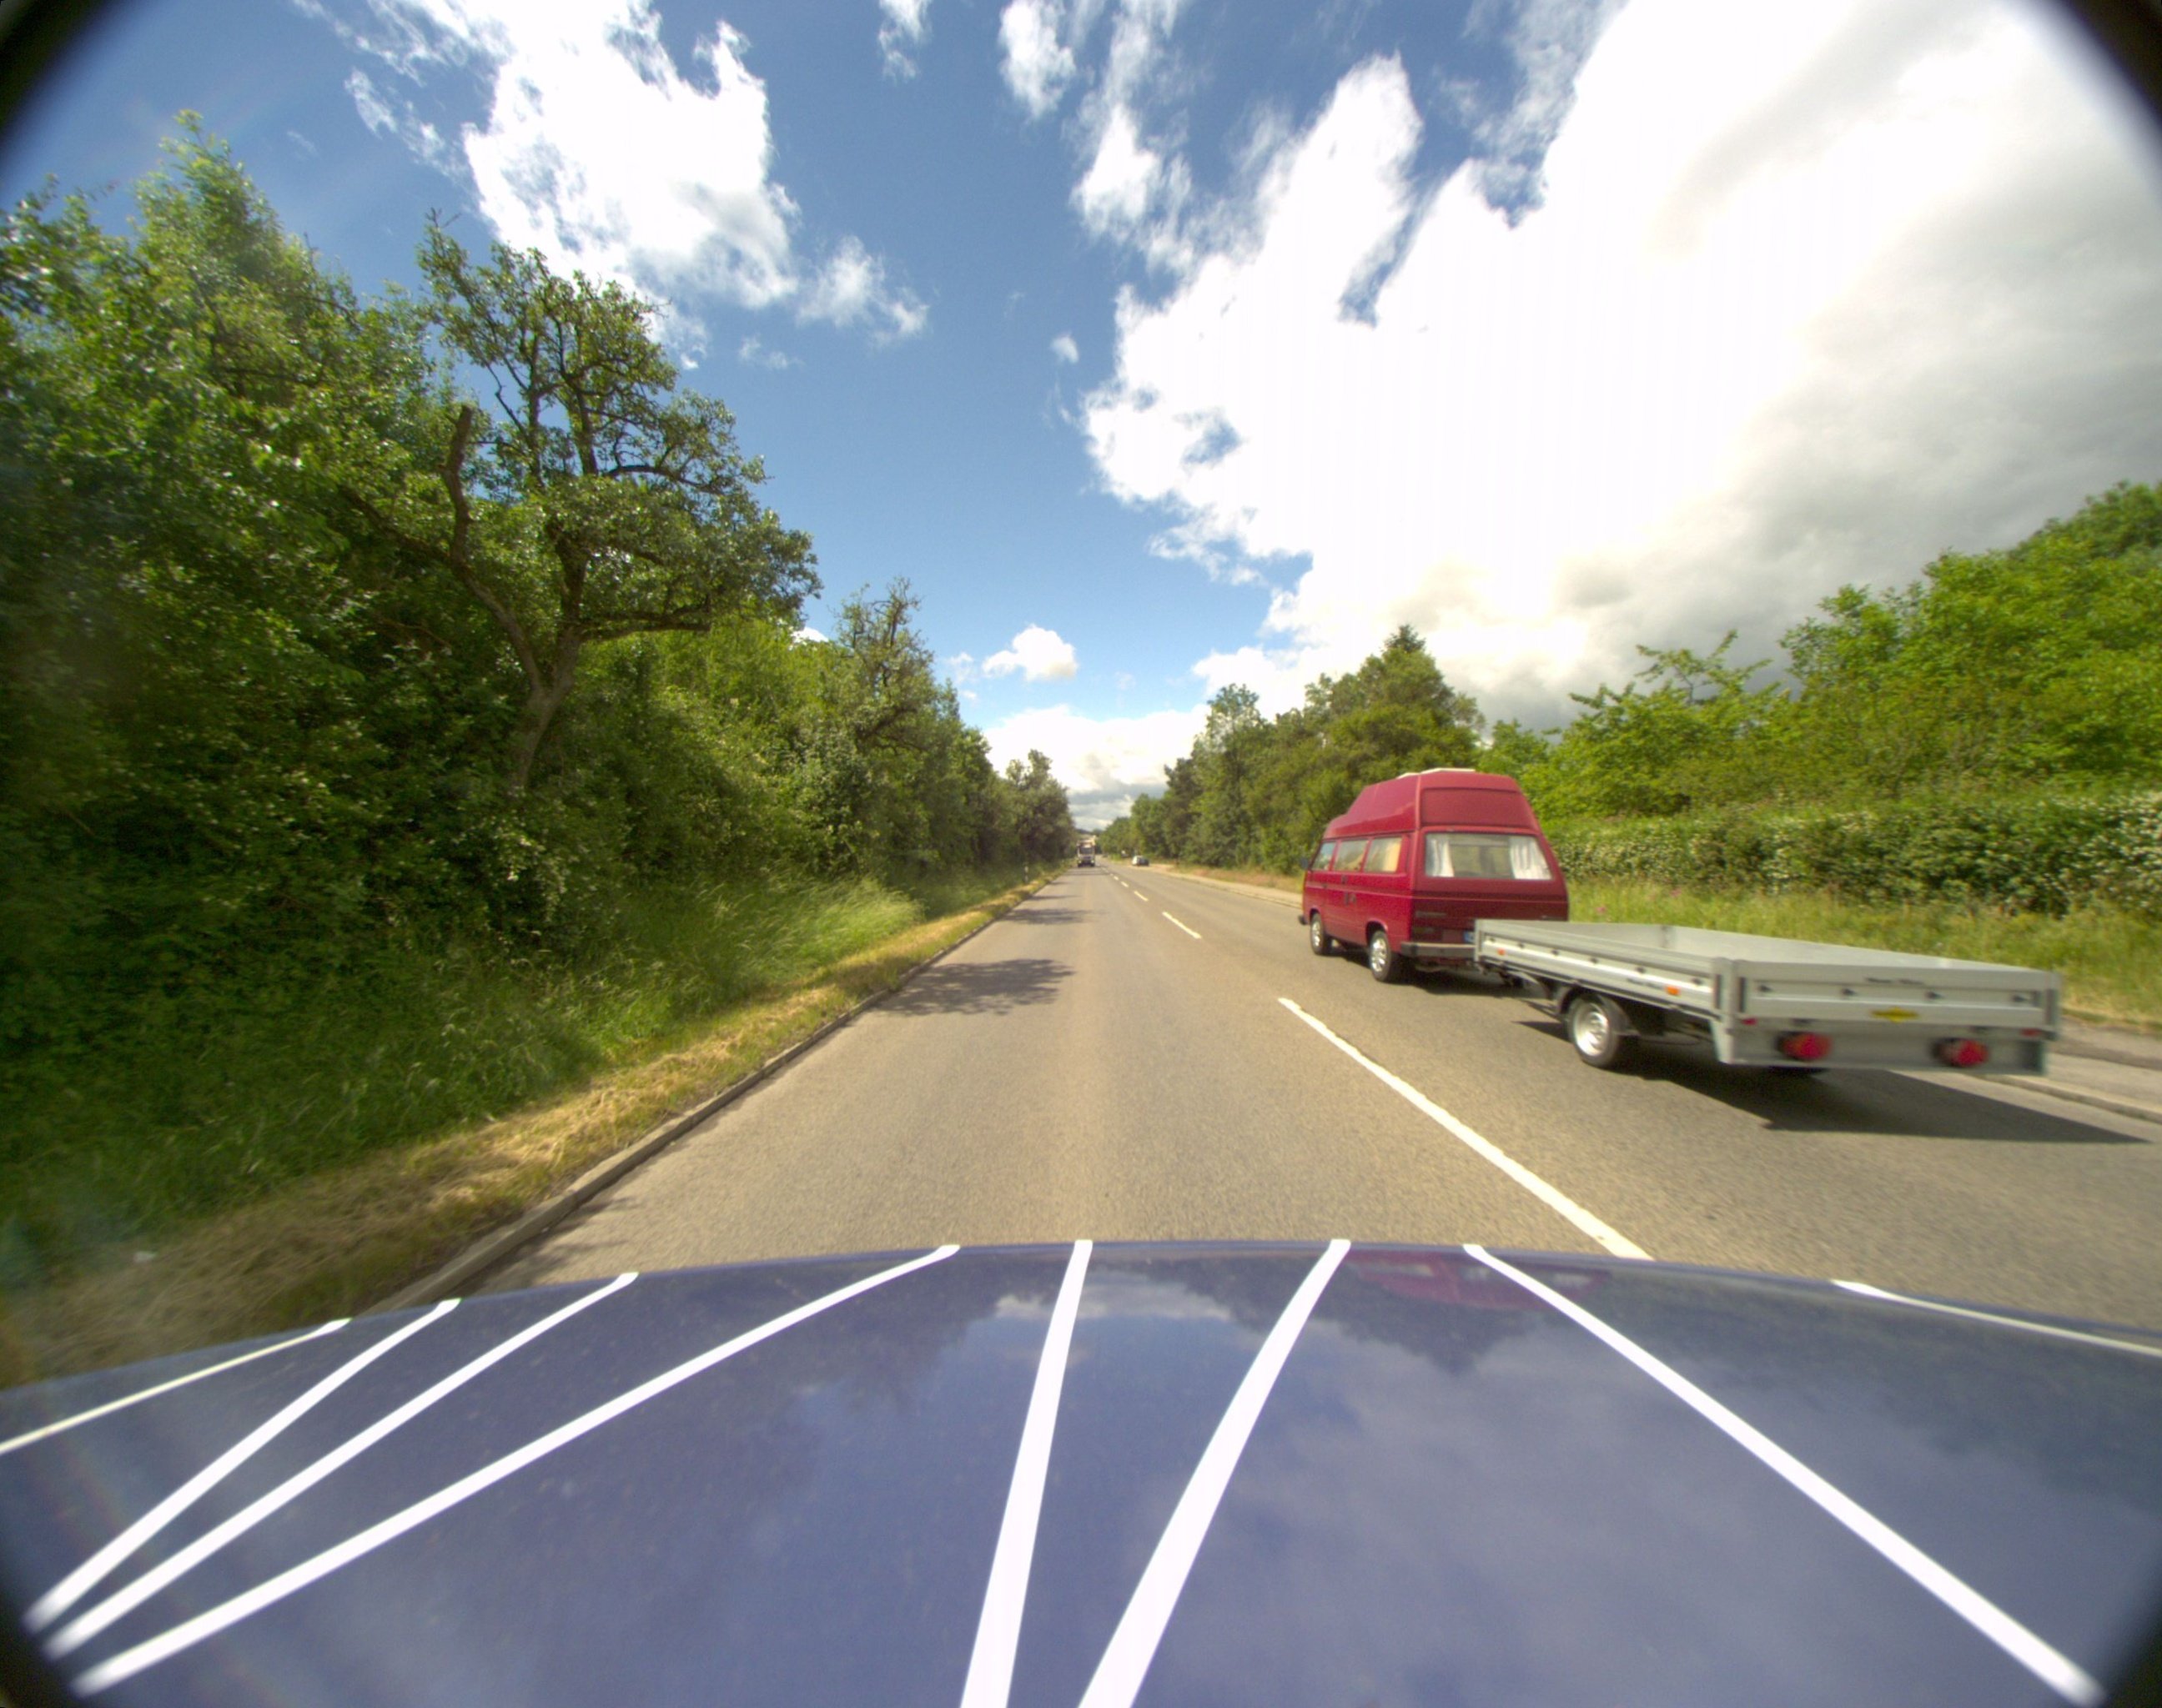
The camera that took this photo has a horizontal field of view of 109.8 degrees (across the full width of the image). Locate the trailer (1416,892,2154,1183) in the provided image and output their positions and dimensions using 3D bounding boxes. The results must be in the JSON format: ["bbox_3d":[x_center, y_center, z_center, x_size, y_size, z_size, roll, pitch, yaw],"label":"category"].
[{"bbox_3d":[4.349,1.007,5.722,1.896,1.193,3.917,2,0,0],"label":"trailer"}]

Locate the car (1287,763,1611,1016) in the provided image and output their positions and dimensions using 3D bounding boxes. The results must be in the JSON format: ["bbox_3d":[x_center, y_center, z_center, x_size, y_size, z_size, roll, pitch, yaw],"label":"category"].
[{"bbox_3d":[4.402,0.358,10.132,1.974,2.535,4.724,2,0,0],"label":"car"}]

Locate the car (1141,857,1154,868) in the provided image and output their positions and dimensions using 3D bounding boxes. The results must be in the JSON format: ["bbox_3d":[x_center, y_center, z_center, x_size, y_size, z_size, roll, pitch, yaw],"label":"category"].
[{"bbox_3d":[9.558,1.164,109.423,1.772,1.399,4.266,-2,0,3],"label":"car"}]

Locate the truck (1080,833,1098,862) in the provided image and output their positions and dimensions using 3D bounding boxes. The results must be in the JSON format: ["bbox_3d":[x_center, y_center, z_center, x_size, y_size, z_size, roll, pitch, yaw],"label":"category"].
[{"bbox_3d":[1.101,-0.895,108.675,2.306,3.790,8.182,-2,0,0],"label":"truck"}]

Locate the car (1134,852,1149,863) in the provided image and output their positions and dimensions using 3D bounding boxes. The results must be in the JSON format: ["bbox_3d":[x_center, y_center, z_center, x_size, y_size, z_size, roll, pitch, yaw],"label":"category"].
[{"bbox_3d":[9.308,0.539,116.764,1.772,1.461,4.245,-2,0,-1],"label":"car"}]
